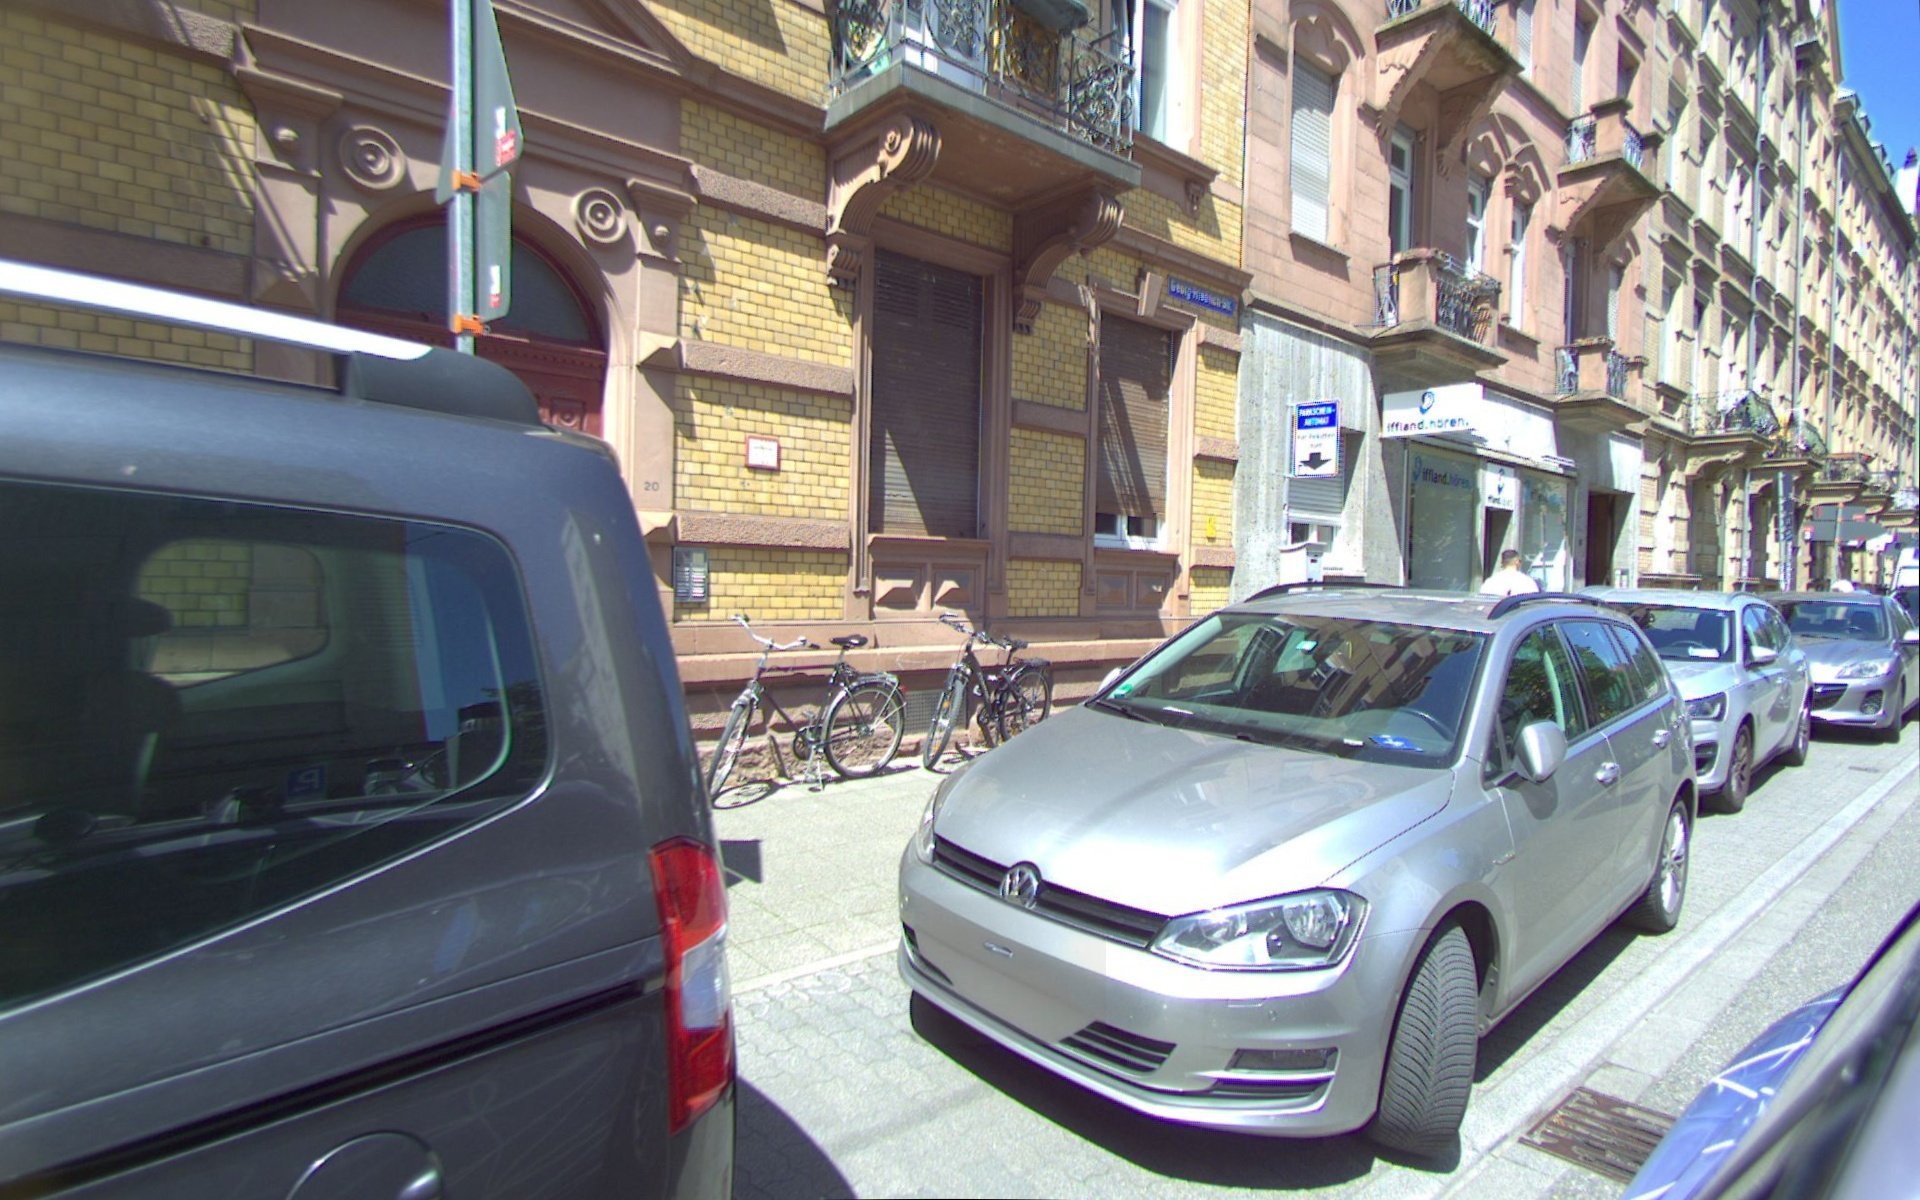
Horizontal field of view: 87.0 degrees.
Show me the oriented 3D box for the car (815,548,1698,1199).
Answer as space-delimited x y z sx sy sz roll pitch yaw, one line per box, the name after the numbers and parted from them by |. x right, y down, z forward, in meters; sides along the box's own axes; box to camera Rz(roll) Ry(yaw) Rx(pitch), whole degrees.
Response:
1.495 0.596 3.940 1.761 1.468 3.844 1 1 43 | car

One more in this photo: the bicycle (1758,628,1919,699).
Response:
11.805 0.819 13.310 0.557 0.786 1.968 0 2 -36 | bicycle

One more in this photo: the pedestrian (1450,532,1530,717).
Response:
5.742 0.243 10.969 0.363 1.938 0.634 0 1 -40 | pedestrian

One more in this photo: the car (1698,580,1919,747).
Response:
9.300 0.535 10.874 3.629 1.480 1.600 -1 1 -44 | car

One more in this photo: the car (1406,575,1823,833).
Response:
5.196 0.559 7.819 3.933 1.479 1.827 -1 1 -43 | car

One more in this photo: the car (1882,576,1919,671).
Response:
17.388 0.365 17.648 3.934 1.556 1.679 -1 1 -44 | car

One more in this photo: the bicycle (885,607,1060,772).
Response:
0.118 0.610 7.452 1.404 1.063 0.366 -2 3 -41 | bicycle

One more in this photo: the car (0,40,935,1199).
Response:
-2.067 0.461 0.703 3.930 1.755 1.705 -1 1 -41 | car

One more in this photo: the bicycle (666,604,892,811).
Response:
-1.090 0.611 6.315 1.404 1.121 0.366 -2 3 -41 | bicycle

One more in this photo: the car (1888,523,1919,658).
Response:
21.626 -0.212 21.637 4.951 2.736 2.066 -1 0 -41 | car
